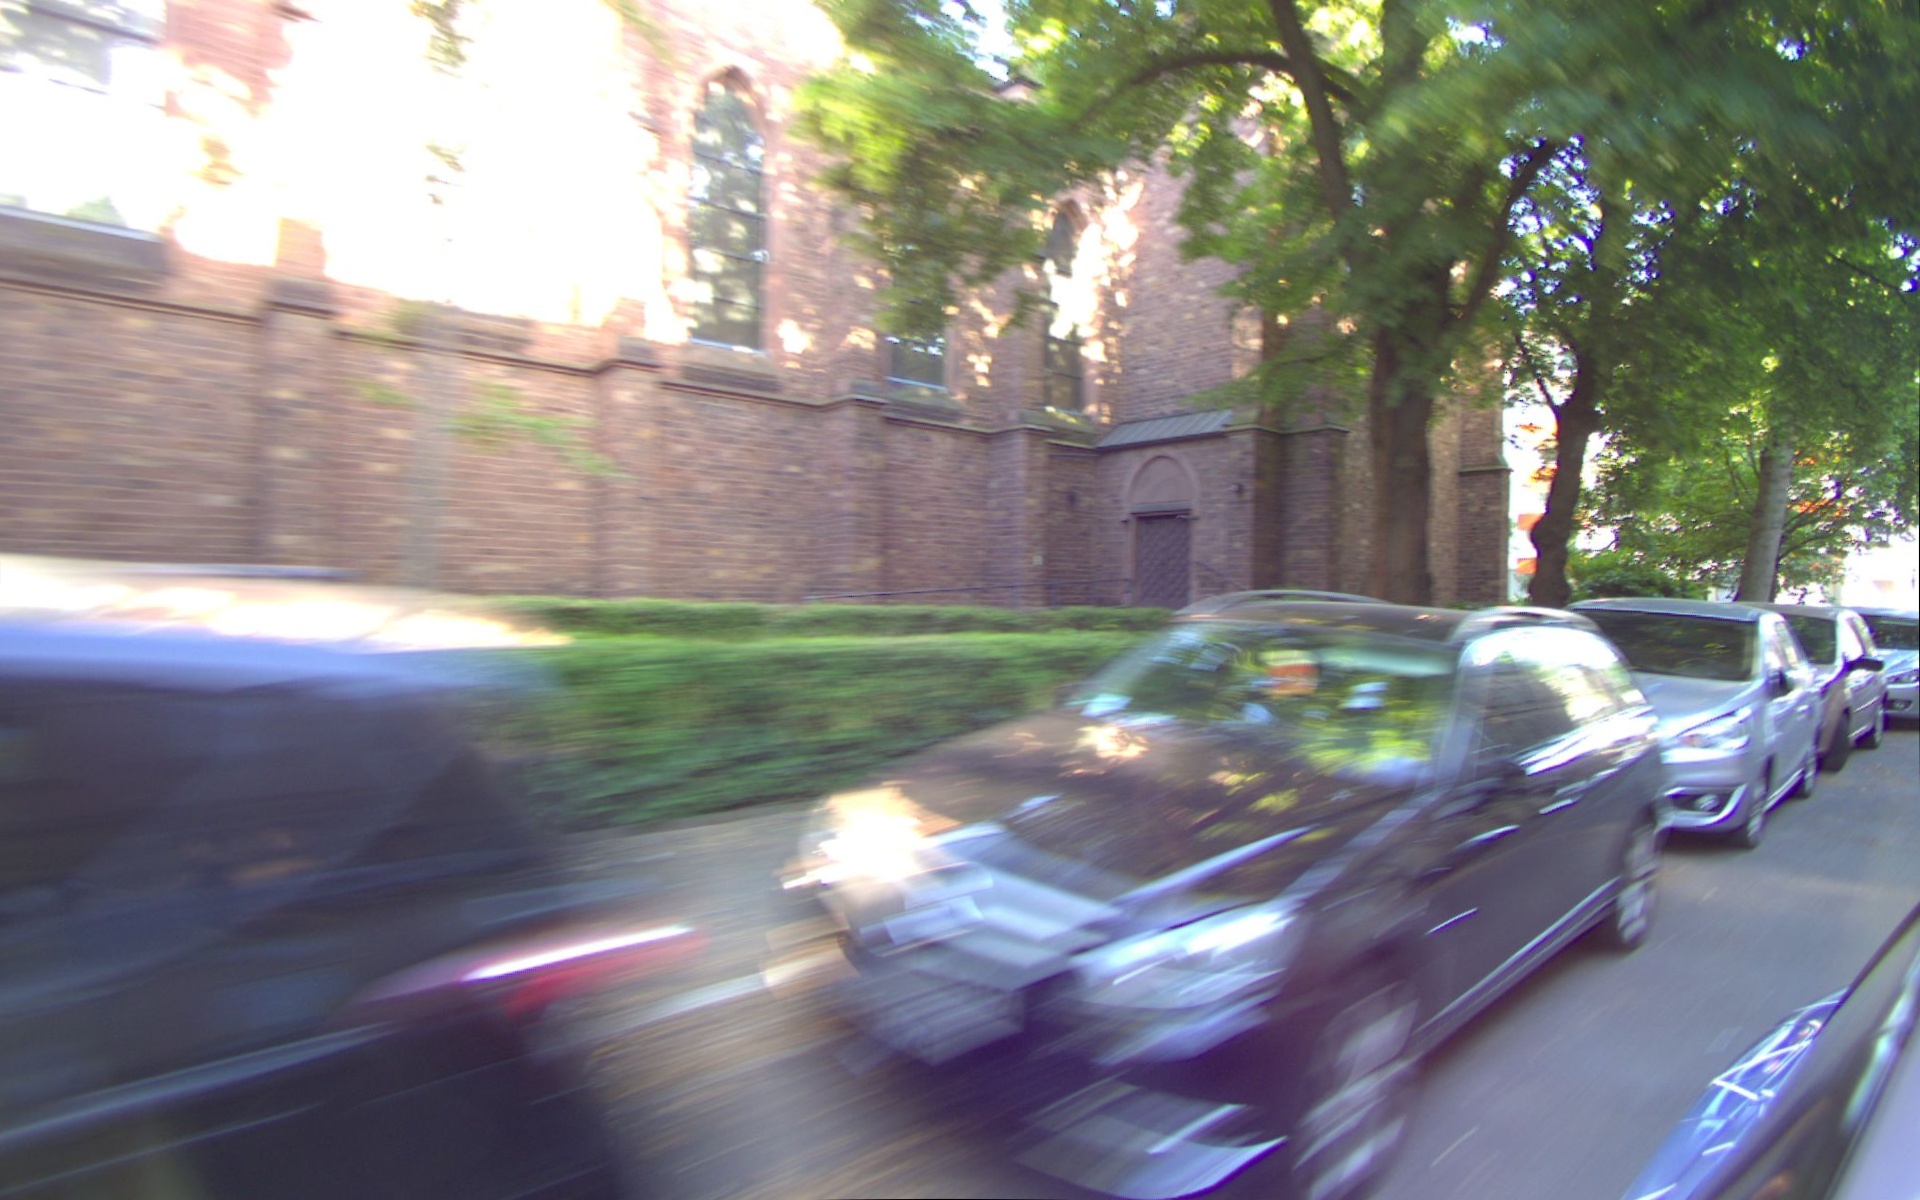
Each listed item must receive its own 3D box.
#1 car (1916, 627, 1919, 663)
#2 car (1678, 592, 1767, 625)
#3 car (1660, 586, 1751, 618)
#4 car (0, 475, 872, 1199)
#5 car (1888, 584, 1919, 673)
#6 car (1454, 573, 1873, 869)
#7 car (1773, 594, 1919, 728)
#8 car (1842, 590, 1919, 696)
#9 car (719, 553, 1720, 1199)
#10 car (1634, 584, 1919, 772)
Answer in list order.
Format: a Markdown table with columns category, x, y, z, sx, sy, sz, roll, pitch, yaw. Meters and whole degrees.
| category | x | y | z | sx | sy | sz | roll | pitch | yaw |
| --- | --- | --- | --- | --- | --- | --- | --- | --- | --- |
| car | 23.120 | 0.675 | 22.973 | 3.884 | 1.537 | 1.668 | -1 | 6 | -42 |
| car | 35.761 | 0.369 | 47.594 | 1.756 | 1.449 | 4.396 | 0 | 1 | 14 |
| car | 40.308 | 0.059 | 54.768 | 1.621 | 1.577 | 3.693 | -3 | 3 | -40 |
| car | -2.083 | 0.581 | 1.014 | 3.712 | 1.504 | 1.622 | -1 | 6 | -43 |
| car | 19.684 | 0.577 | 19.705 | 4.026 | 1.604 | 1.670 | 0 | 6 | -39 |
| car | 5.232 | 0.639 | 7.372 | 3.565 | 1.523 | 1.603 | -1 | 6 | -42 |
| car | 12.404 | 0.711 | 13.553 | 3.801 | 1.488 | 1.603 | -1 | 3 | -40 |
| car | 15.969 | 0.669 | 16.600 | 3.654 | 1.523 | 1.604 | -1 | 6 | -40 |
| car | 1.522 | 0.632 | 4.062 | 4.619 | 1.458 | 1.678 | -1 | 6 | -45 |
| car | 8.526 | 0.644 | 10.423 | 3.500 | 1.485 | 1.604 | -1 | 6 | -40 |
